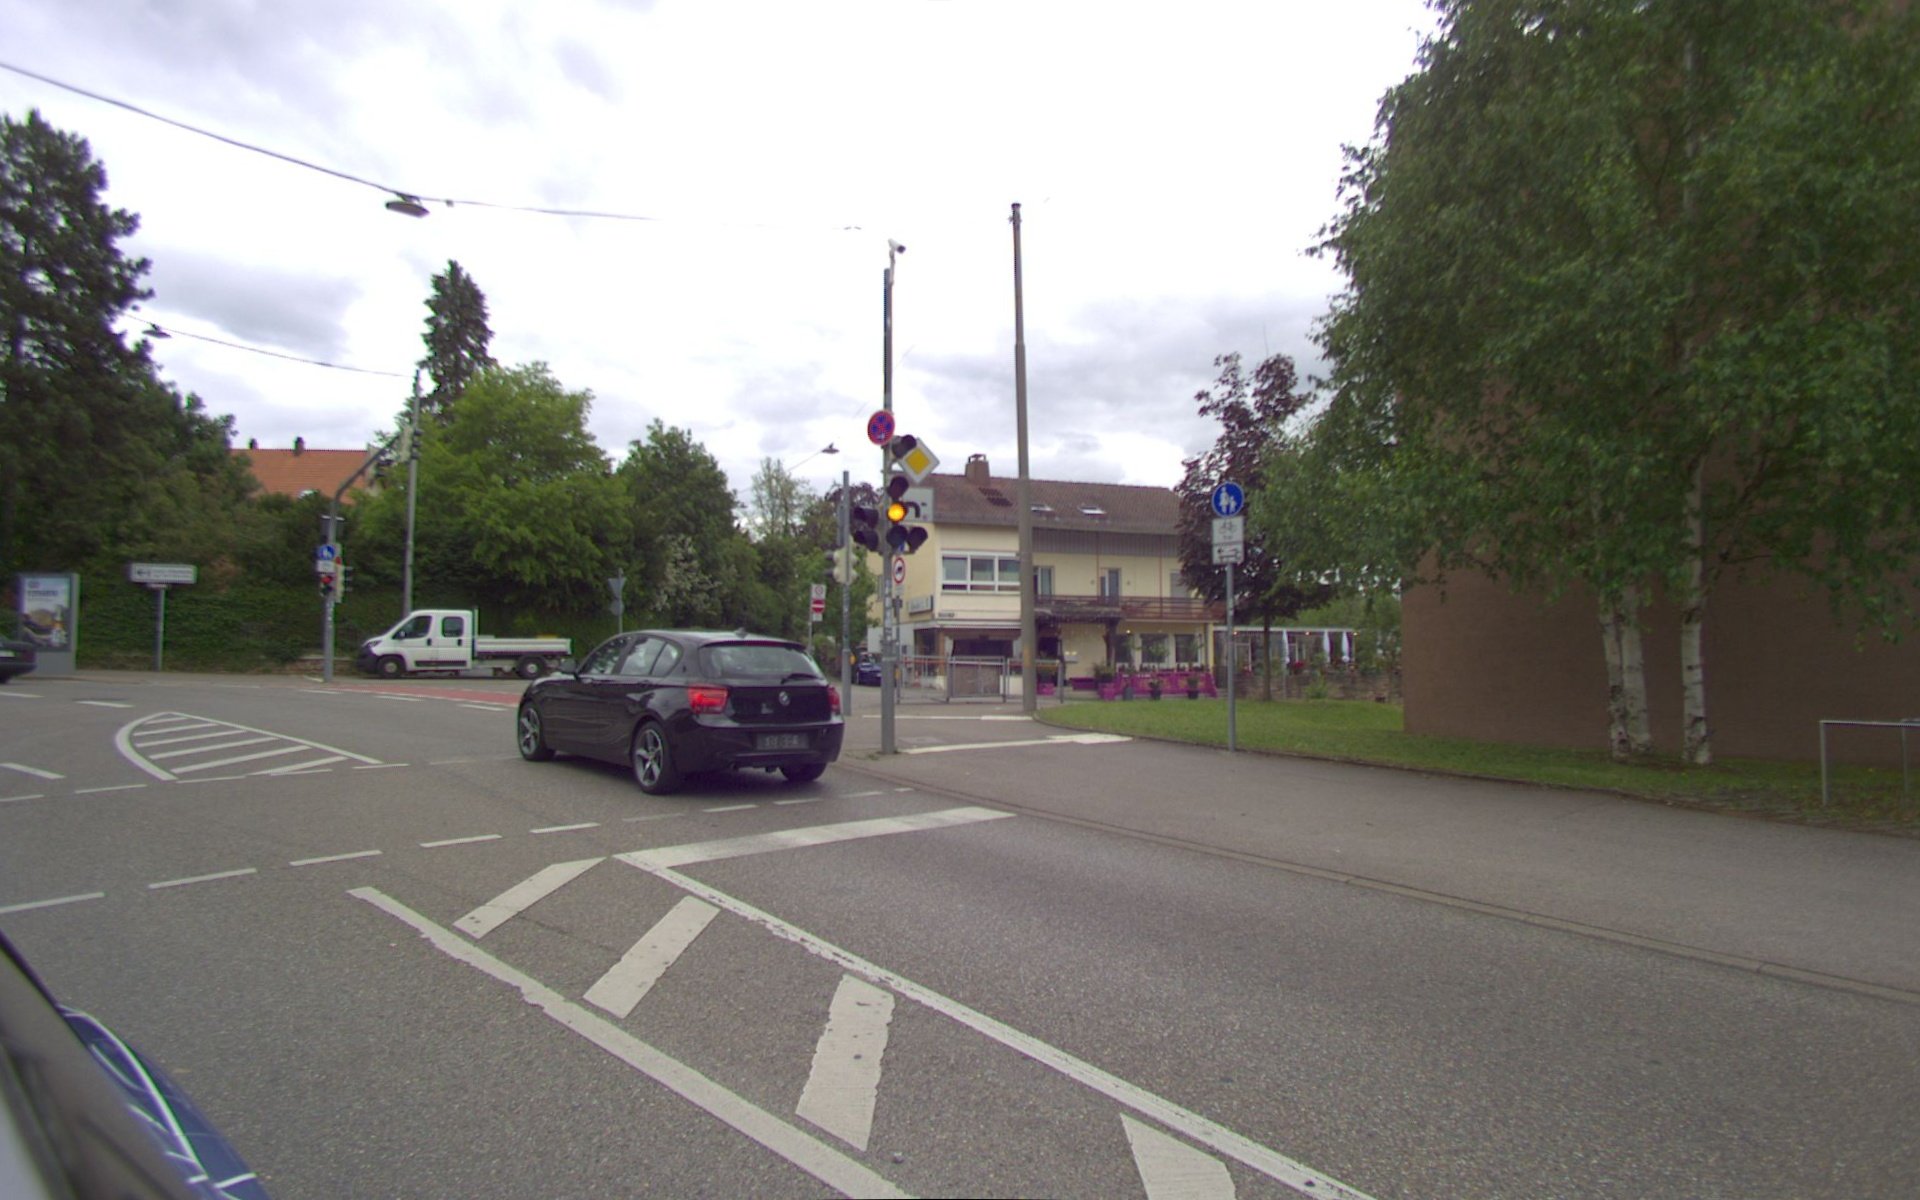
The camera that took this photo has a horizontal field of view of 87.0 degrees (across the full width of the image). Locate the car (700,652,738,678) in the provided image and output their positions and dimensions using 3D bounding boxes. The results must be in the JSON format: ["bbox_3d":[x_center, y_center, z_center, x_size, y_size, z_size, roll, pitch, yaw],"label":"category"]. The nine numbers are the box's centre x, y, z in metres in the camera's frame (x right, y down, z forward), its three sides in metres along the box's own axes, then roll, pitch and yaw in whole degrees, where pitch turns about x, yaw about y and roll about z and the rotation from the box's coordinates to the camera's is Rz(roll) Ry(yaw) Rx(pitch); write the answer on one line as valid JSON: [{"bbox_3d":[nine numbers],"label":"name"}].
[{"bbox_3d":[-15.552,4.161,65.489,1.843,1.599,3.735,1,-3,-5],"label":"car"}]

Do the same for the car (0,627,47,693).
[{"bbox_3d":[-21.954,1.163,21.149,4.820,1.338,1.844,1,-3,14],"label":"car"}]

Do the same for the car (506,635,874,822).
[{"bbox_3d":[-2.790,1.099,9.886,1.741,1.419,4.005,5,-5,-43],"label":"car"}]

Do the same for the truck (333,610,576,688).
[{"bbox_3d":[-16.043,1.621,32.385,6.602,2.205,2.537,4,-3,-29],"label":"truck"}]

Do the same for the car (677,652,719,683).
[{"bbox_3d":[-13.089,3.367,50.709,1.841,1.464,3.739,1,-3,-11],"label":"car"}]

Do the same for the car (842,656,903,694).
[{"bbox_3d":[-3.775,3.169,43.110,1.849,1.460,4.011,3,-4,-15],"label":"car"}]

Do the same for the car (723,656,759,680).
[{"bbox_3d":[-16.199,5.038,75.041,1.971,1.629,4.002,1,-3,-3],"label":"car"}]

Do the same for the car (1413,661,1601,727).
[{"bbox_3d":[14.375,2.439,26.810,1.757,1.533,4.015,4,-4,-35],"label":"car"}]

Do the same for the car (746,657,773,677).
[{"bbox_3d":[-16.708,5.584,84.501,1.843,1.599,3.735,2,-3,-5],"label":"car"}]

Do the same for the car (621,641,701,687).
[{"bbox_3d":[-11.554,2.476,39.350,1.971,1.625,4.001,2,-3,-2],"label":"car"}]
